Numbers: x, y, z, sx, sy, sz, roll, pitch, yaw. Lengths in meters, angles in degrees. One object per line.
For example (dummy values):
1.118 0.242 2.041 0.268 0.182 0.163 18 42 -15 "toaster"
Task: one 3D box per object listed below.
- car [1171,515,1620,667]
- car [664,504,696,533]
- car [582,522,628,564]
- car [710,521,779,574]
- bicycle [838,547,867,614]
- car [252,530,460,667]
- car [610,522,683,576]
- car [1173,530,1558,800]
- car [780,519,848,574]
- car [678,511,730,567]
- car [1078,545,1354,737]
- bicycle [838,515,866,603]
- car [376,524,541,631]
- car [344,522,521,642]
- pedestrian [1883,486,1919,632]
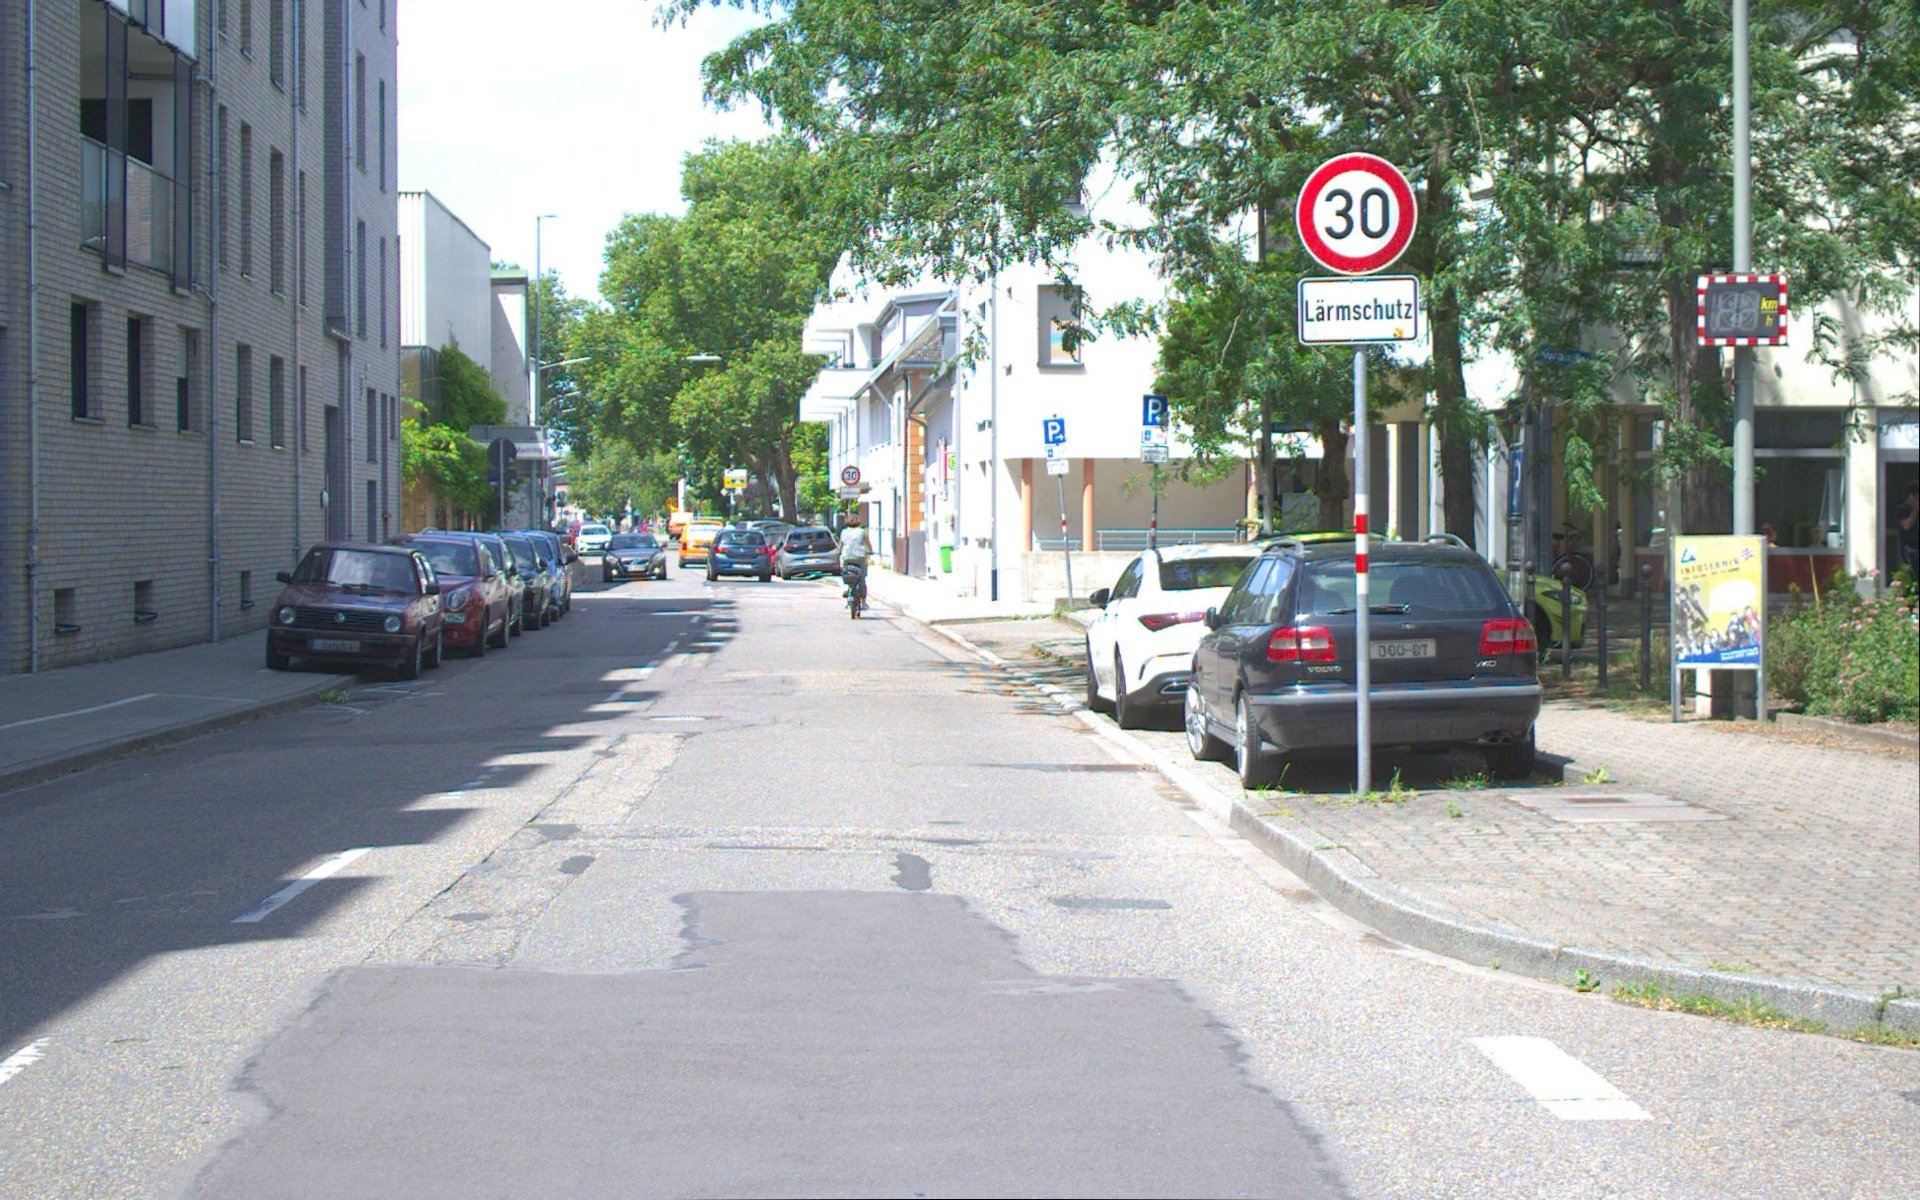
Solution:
4.468 -0.119 35.817 4.378 1.376 2.000 2 1 0 "car"
-19.249 -5.595 236.255 2.156 2.007 4.001 0 2 -5 "car"
-17.237 -2.766 167.041 1.993 2.007 4.001 0 1 -2 "car"
-5.975 -1.488 95.655 1.715 1.397 4.001 0 2 -1 "car"
-1.831 -0.339 58.287 0.483 1.111 1.196 0 1 -2 "bicycle"
-6.655 -0.058 38.245 1.732 1.437 4.001 0 1 -2 "car"
-9.099 -1.493 100.024 1.993 1.514 4.001 0 2 -4 "car"
2.383 0.320 21.122 1.692 1.415 4.001 -2 1 -2 "car"
-4.429 -1.618 103.649 1.993 1.612 4.001 1 1 -3 "car"
-9.426 -2.270 126.802 1.839 2.006 4.001 0 2 -3 "car"
1.994 0.278 27.835 1.779 1.415 4.001 0 1 -2 "car"
-1.829 -0.694 58.302 0.477 1.485 0.576 0 1 -2 "bicycle"
-7.251 -0.359 50.051 1.826 1.415 4.000 2 2 -1 "car"
-6.596 -0.257 43.321 1.732 1.437 4.001 0 1 -2 "car"
12.212 -0.532 43.961 0.596 1.852 0.602 1 2 40 "pedestrian"
